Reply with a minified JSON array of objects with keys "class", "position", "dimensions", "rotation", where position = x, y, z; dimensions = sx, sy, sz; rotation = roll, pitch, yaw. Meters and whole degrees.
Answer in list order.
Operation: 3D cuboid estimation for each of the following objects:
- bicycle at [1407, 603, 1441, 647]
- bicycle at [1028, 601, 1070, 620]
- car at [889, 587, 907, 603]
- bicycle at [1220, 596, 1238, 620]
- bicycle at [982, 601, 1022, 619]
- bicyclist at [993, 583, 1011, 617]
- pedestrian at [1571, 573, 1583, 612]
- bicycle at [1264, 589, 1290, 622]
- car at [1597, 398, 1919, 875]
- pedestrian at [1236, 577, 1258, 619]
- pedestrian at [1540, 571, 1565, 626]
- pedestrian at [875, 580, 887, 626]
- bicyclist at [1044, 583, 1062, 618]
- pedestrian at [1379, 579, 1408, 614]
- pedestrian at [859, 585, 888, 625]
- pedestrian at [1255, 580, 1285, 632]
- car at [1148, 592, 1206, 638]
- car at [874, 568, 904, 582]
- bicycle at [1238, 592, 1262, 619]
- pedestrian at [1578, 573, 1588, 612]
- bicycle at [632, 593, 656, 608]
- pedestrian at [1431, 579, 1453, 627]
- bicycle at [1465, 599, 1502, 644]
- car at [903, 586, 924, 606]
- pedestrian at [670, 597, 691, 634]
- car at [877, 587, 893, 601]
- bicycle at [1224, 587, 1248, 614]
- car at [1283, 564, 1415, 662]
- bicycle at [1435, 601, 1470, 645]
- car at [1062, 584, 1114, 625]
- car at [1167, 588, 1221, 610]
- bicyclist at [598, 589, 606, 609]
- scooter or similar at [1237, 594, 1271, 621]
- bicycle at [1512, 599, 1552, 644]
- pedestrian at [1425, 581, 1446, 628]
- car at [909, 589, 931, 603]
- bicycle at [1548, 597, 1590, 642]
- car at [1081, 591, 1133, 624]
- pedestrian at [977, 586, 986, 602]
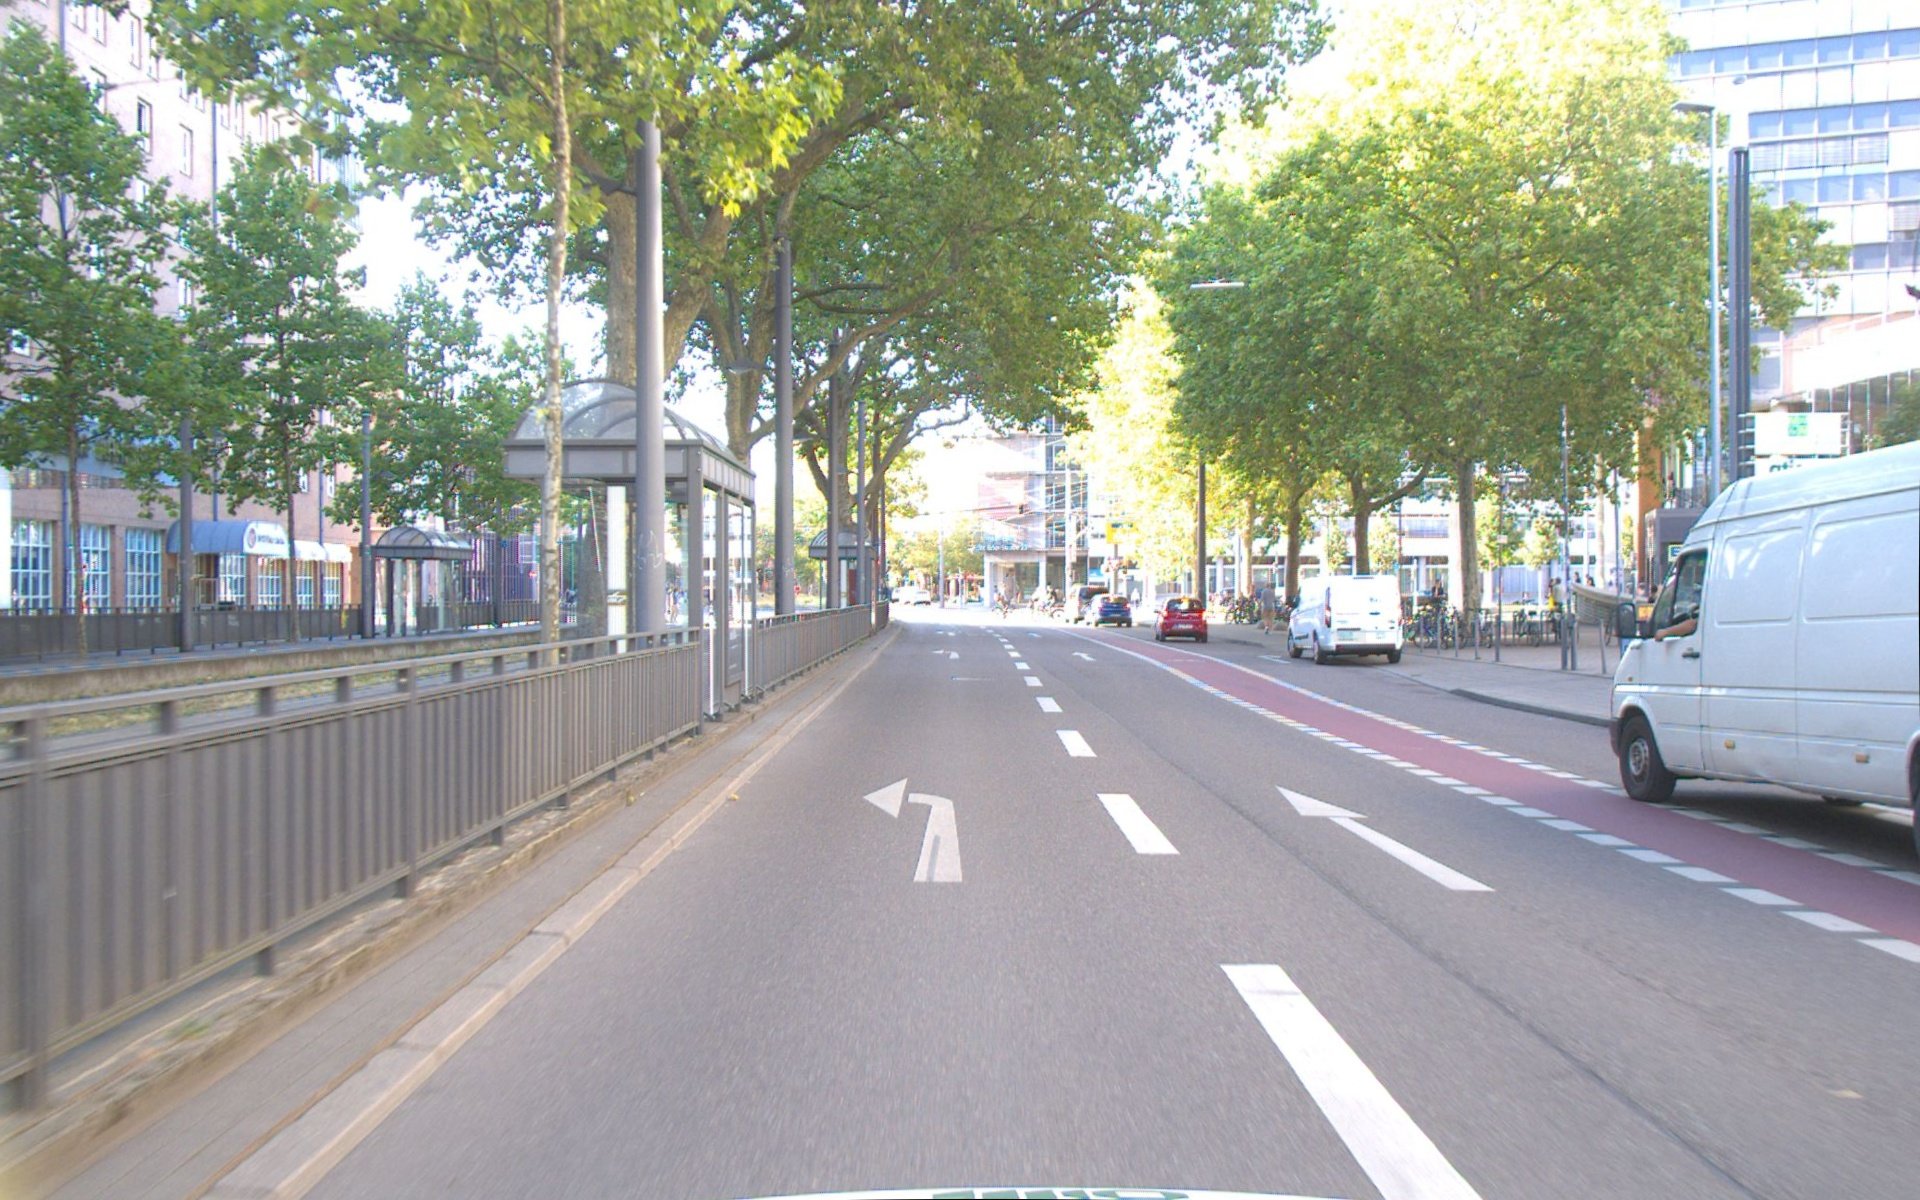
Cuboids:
[{"class":"bicycle","position":[12.600,0.662,44.954],"dimensions":[0.648,1.157,2.403],"rotation":[0,0,10]},{"class":"bicycle","position":[4.696,0.562,87.642],"dimensions":[2.135,0.950,0.667],"rotation":[-1,0,-5]},{"class":"car","position":[-6.991,-0.560,186.485],"dimensions":[1.954,1.691,3.997],"rotation":[-1,0,-4]},{"class":"bicycle","position":[12.547,0.356,77.195],"dimensions":[0.614,1.075,1.573],"rotation":[-1,0,2]},{"class":"bicycle","position":[2.265,0.529,89.707],"dimensions":[2.135,0.950,0.667],"rotation":[-1,0,-5]},{"class":"bicyclist","position":[2.273,0.002,89.705],"dimensions":[0.833,1.798,0.752],"rotation":[-1,0,-5]},{"class":"pedestrian","position":[24.741,-0.296,66.333],"dimensions":[0.385,1.570,0.284],"rotation":[0,0,13]},{"class":"bicycle","position":[12.866,0.208,67.165],"dimensions":[0.583,1.286,1.875],"rotation":[-1,0,-4]},{"class":"car","position":[6.514,0.216,10.829],"dimensions":[1.953,2.772,6.559],"rotation":[1,0,-2]},{"class":"pedestrian","position":[12.574,-0.101,72.535],"dimensions":[0.789,1.817,0.657],"rotation":[-1,0,23]},{"class":"pedestrian","position":[20.414,-0.053,56.990],"dimensions":[0.629,1.874,0.563],"rotation":[-1,0,-6]},{"class":"pedestrian","position":[-3.365,0.121,70.501],"dimensions":[0.499,1.933,0.759],"rotation":[1,-1,-3]},{"class":"bicyclist","position":[4.934,0.039,87.665],"dimensions":[0.833,1.816,0.752],"rotation":[-1,0,-5]},{"class":"pedestrian","position":[23.673,-0.185,90.385],"dimensions":[1.186,1.854,1.040],"rotation":[1,-1,-9]},{"class":"pedestrian","position":[-3.119,0.181,59.771],"dimensions":[0.956,1.424,0.664],"rotation":[1,-1,1]},{"class":"pedestrian","position":[10.900,0.214,58.223],"dimensions":[0.854,1.817,0.808],"rotation":[-1,0,-3]},{"class":"car","position":[7.343,0.485,56.270],"dimensions":[1.526,1.490,3.622],"rotation":[0,0,0]},{"class":"car","position":[-9.519,-3.343,223.037],"dimensions":[3.681,1.780,1.783],"rotation":[1,0,11]},{"class":"bicycle","position":[12.704,0.231,72.359],"dimensions":[0.583,1.135,1.948],"rotation":[-1,0,24]},{"class":"pedestrian","position":[24.758,-0.295,65.721],"dimensions":[0.334,1.570,0.284],"rotation":[0,0,13]},{"class":"bicycle","position":[-27.025,0.040,141.430],"dimensions":[2.076,1.261,0.447],"rotation":[-2,0,-40]},{"class":"pedestrian","position":[19.346,0.130,66.403],"dimensions":[0.623,1.921,0.720],"rotation":[-1,0,-1]},{"class":"bicycle","position":[14.164,0.576,44.764],"dimensions":[0.648,1.157,2.403],"rotation":[0,0,10]},{"class":"car","position":[-4.818,-0.388,171.182],"dimensions":[1.954,2.026,3.997],"rotation":[-1,0,-4]},{"class":"pedestrian","position":[-13.991,0.796,82.798],"dimensions":[1.052,1.837,0.756],"rotation":[0,0,-11]},{"class":"car","position":[-9.482,-0.727,208.114],"dimensions":[1.954,1.691,3.997],"rotation":[-1,0,-4]},{"class":"bicycle","position":[12.165,0.007,72.872],"dimensions":[0.583,1.135,1.825],"rotation":[-1,0,24]},{"class":"car","position":[9.234,0.266,39.703],"dimensions":[2.079,2.171,5.291],"rotation":[-1,0,2]},{"class":"bicycle","position":[13.334,0.611,44.823],"dimensions":[0.648,1.157,2.403],"rotation":[0,0,10]},{"class":"car","position":[6.444,0.203,83.782],"dimensions":[1.954,2.000,5.134],"rotation":[1,0,-3]},{"class":"car","position":[18.391,-0.085,130.137],"dimensions":[4.151,1.630,1.797],"rotation":[-1,0,5]},{"class":"bicyclist","position":[-31.438,-0.099,145.206],"dimensions":[0.582,1.705,0.788],"rotation":[-1,0,-10]},{"class":"scooter or similar","position":[13.173,0.336,74.098],"dimensions":[1.233,1.162,0.912],"rotation":[3,-2,-17]},{"class":"bicycle","position":[15.376,0.558,44.517],"dimensions":[0.648,1.157,2.403],"rotation":[0,0,10]},{"class":"pedestrian","position":[19.309,0.183,67.113],"dimensions":[0.623,1.921,0.720],"rotation":[-1,0,-1]},{"class":"car","position":[-3.986,-0.390,164.450],"dimensions":[1.954,1.355,3.997],"rotation":[-1,0,-4]},{"class":"bicycle","position":[16.338,0.497,44.396],"dimensions":[0.648,1.157,2.403],"rotation":[0,0,10]},{"class":"car","position":[6.821,0.318,77.117],"dimensions":[1.730,1.489,4.213],"rotation":[-1,0,-5]},{"class":"pedestrian","position":[2.021,-0.538,154.438],"dimensions":[0.725,1.491,0.536],"rotation":[-1,0,-5]}]
